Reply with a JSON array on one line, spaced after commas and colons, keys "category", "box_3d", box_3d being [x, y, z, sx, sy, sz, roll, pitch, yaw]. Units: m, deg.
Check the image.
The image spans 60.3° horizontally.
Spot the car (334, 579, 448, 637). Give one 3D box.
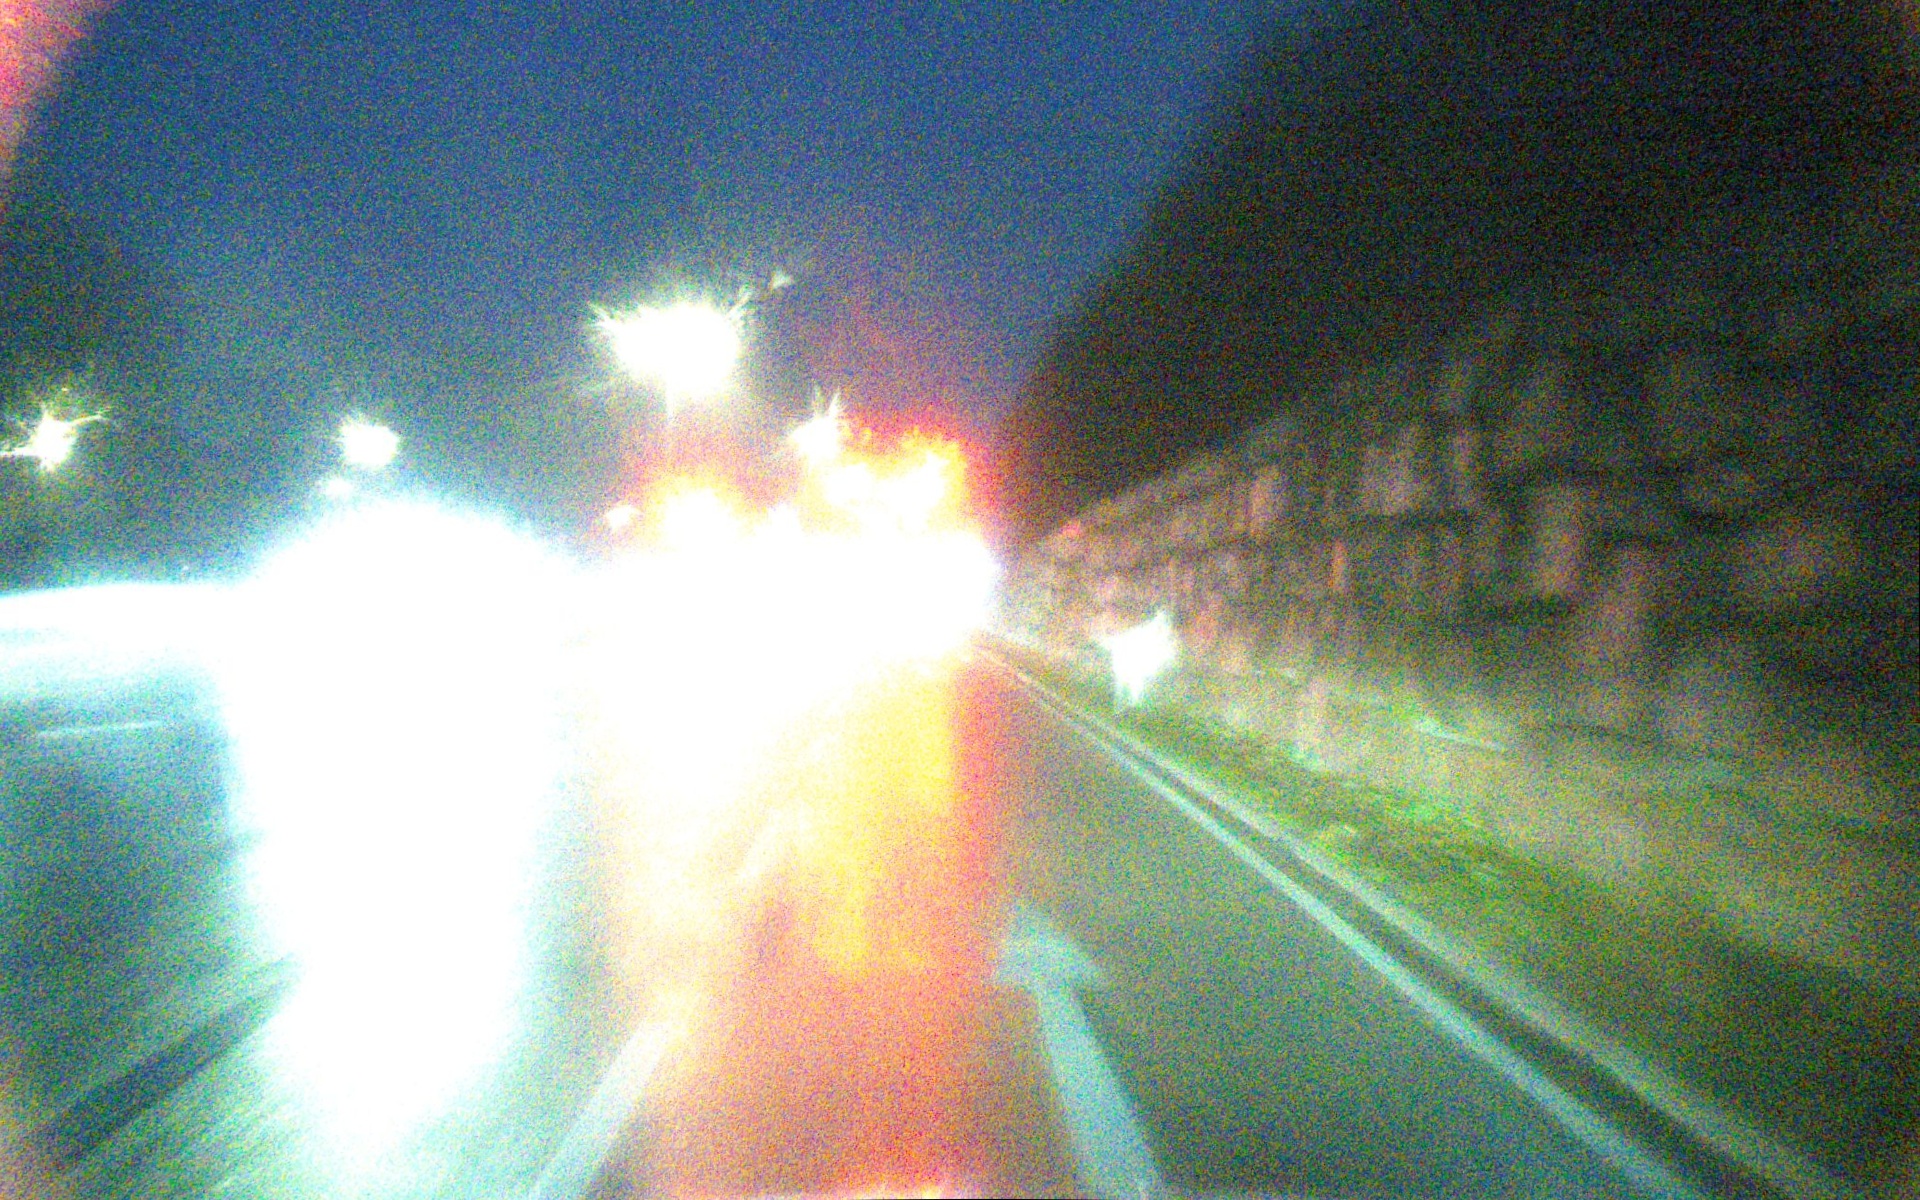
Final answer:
[{"category": "car", "box_3d": [-14.621, 0.195, 42.693, 1.839, 1.422, 4.244, 0, 0, -6]}]

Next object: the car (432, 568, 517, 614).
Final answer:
[{"category": "car", "box_3d": [-17.143, -0.299, 58.615, 1.954, 1.534, 4.551, 2, 0, -5]}]

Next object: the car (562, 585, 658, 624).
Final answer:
[{"category": "car", "box_3d": [-16.162, 0.218, 76.489, 3.903, 1.691, 2.001, 2, 0, 4]}]
